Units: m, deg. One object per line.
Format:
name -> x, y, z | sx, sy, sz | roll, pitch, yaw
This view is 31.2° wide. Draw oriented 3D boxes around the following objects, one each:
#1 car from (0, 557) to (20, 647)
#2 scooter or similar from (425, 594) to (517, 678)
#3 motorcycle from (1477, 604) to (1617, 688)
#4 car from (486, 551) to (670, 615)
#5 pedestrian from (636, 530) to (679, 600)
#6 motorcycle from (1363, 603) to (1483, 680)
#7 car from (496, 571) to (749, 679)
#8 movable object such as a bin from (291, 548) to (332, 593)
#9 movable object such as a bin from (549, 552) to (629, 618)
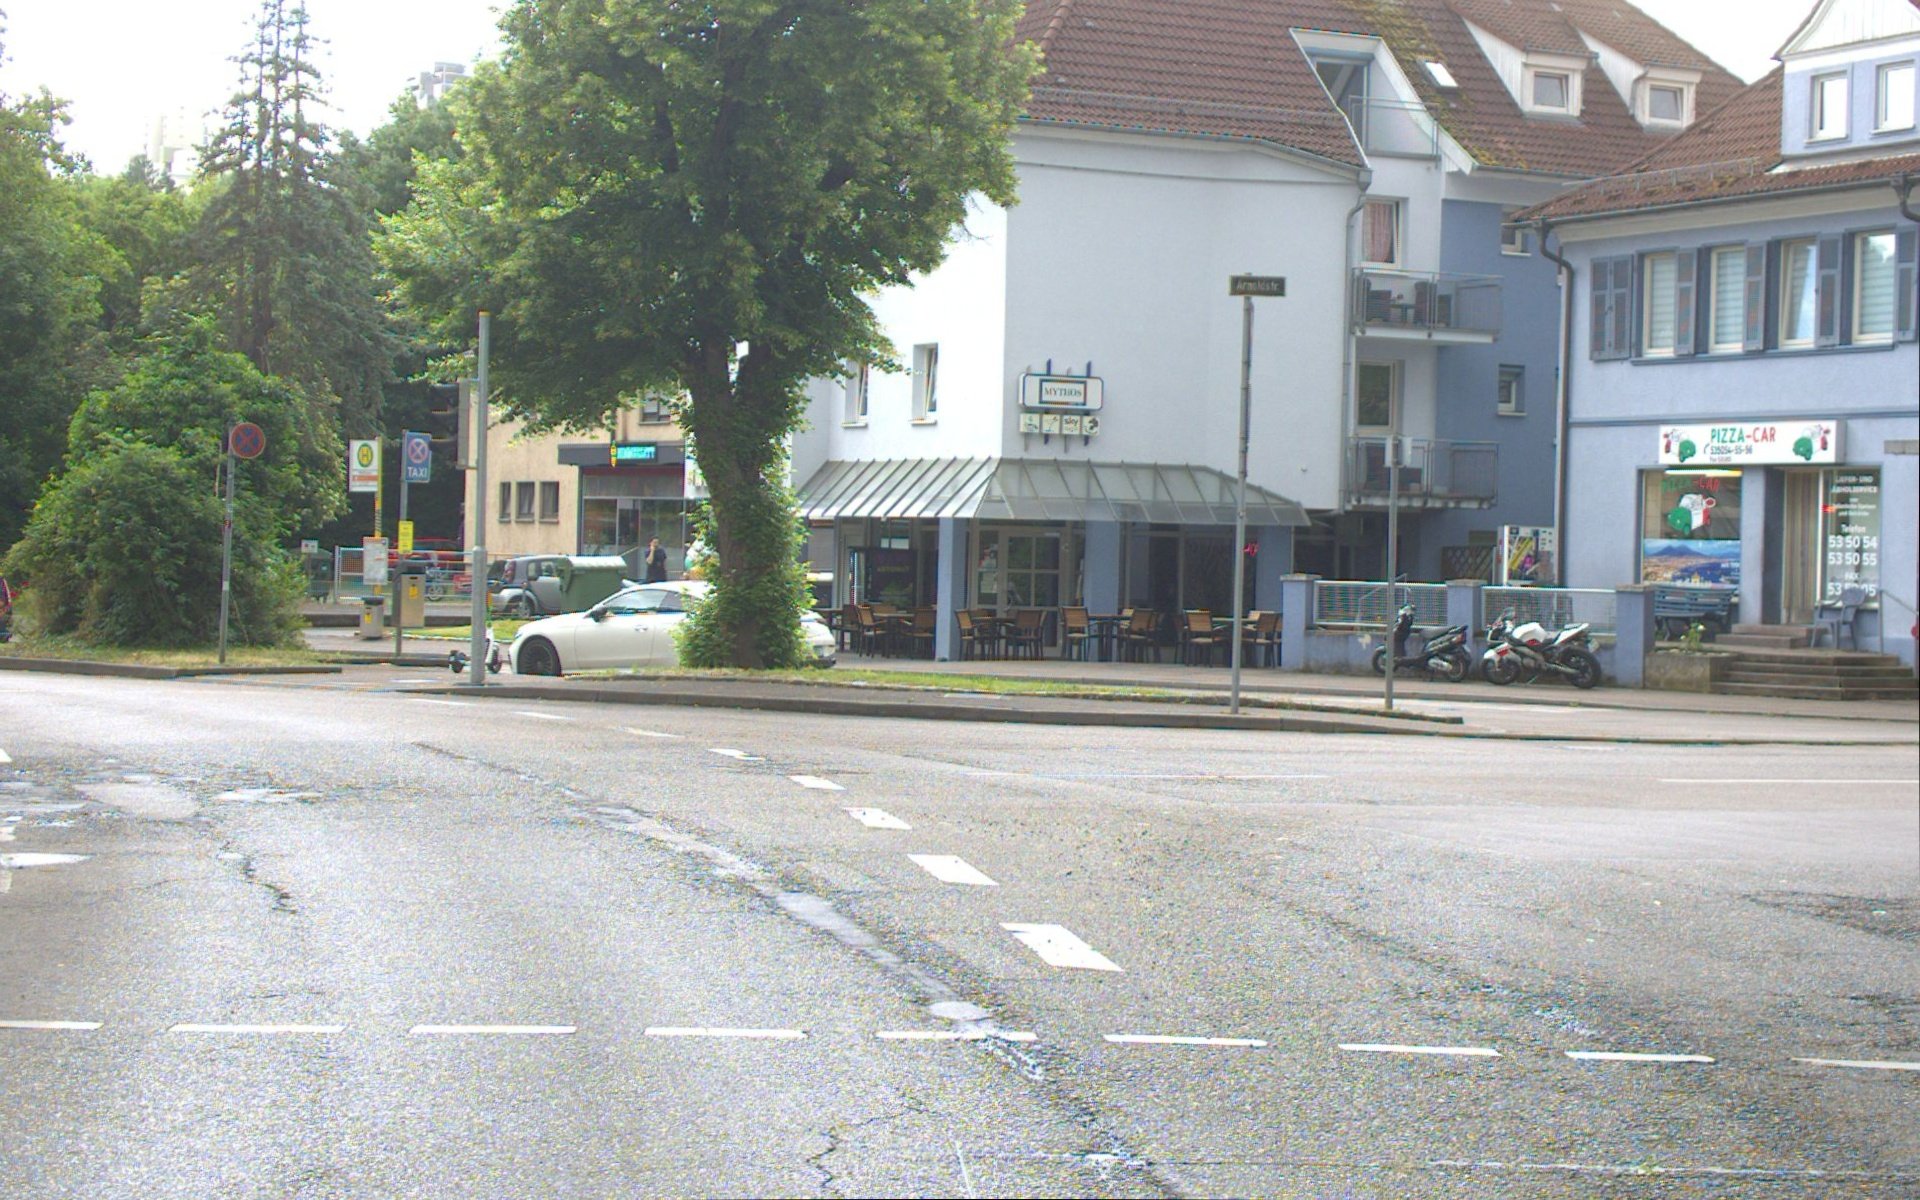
car -> -16.514, -0.011, 53.725 | 3.590, 1.389, 1.469 | 2, 1, 32
scooter or similar -> -6.060, 0.433, 42.653 | 0.417, 1.008, 1.565 | 1, 1, 20
motorcycle -> 8.256, 0.633, 48.383 | 1.798, 1.118, 0.693 | 2, 1, 38
car -> -8.426, -0.364, 75.875 | 3.733, 1.340, 1.434 | 1, 1, -26
pedestrian -> -6.797, -0.783, 77.190 | 0.676, 1.539, 0.708 | 1, 1, -34
motorcycle -> 6.751, 0.595, 50.162 | 1.636, 1.060, 0.693 | 2, 1, 44
car -> -4.532, 0.317, 46.046 | 3.171, 1.350, 1.436 | 2, 1, 35
movable object such as a bin -> -16.247, -0.730, 86.170 | 0.950, 1.111, 0.383 | 1, 1, -21
movable object such as a bin -> -7.984, -0.323, 73.978 | 1.440, 1.404, 0.967 | 1, 1, -27
